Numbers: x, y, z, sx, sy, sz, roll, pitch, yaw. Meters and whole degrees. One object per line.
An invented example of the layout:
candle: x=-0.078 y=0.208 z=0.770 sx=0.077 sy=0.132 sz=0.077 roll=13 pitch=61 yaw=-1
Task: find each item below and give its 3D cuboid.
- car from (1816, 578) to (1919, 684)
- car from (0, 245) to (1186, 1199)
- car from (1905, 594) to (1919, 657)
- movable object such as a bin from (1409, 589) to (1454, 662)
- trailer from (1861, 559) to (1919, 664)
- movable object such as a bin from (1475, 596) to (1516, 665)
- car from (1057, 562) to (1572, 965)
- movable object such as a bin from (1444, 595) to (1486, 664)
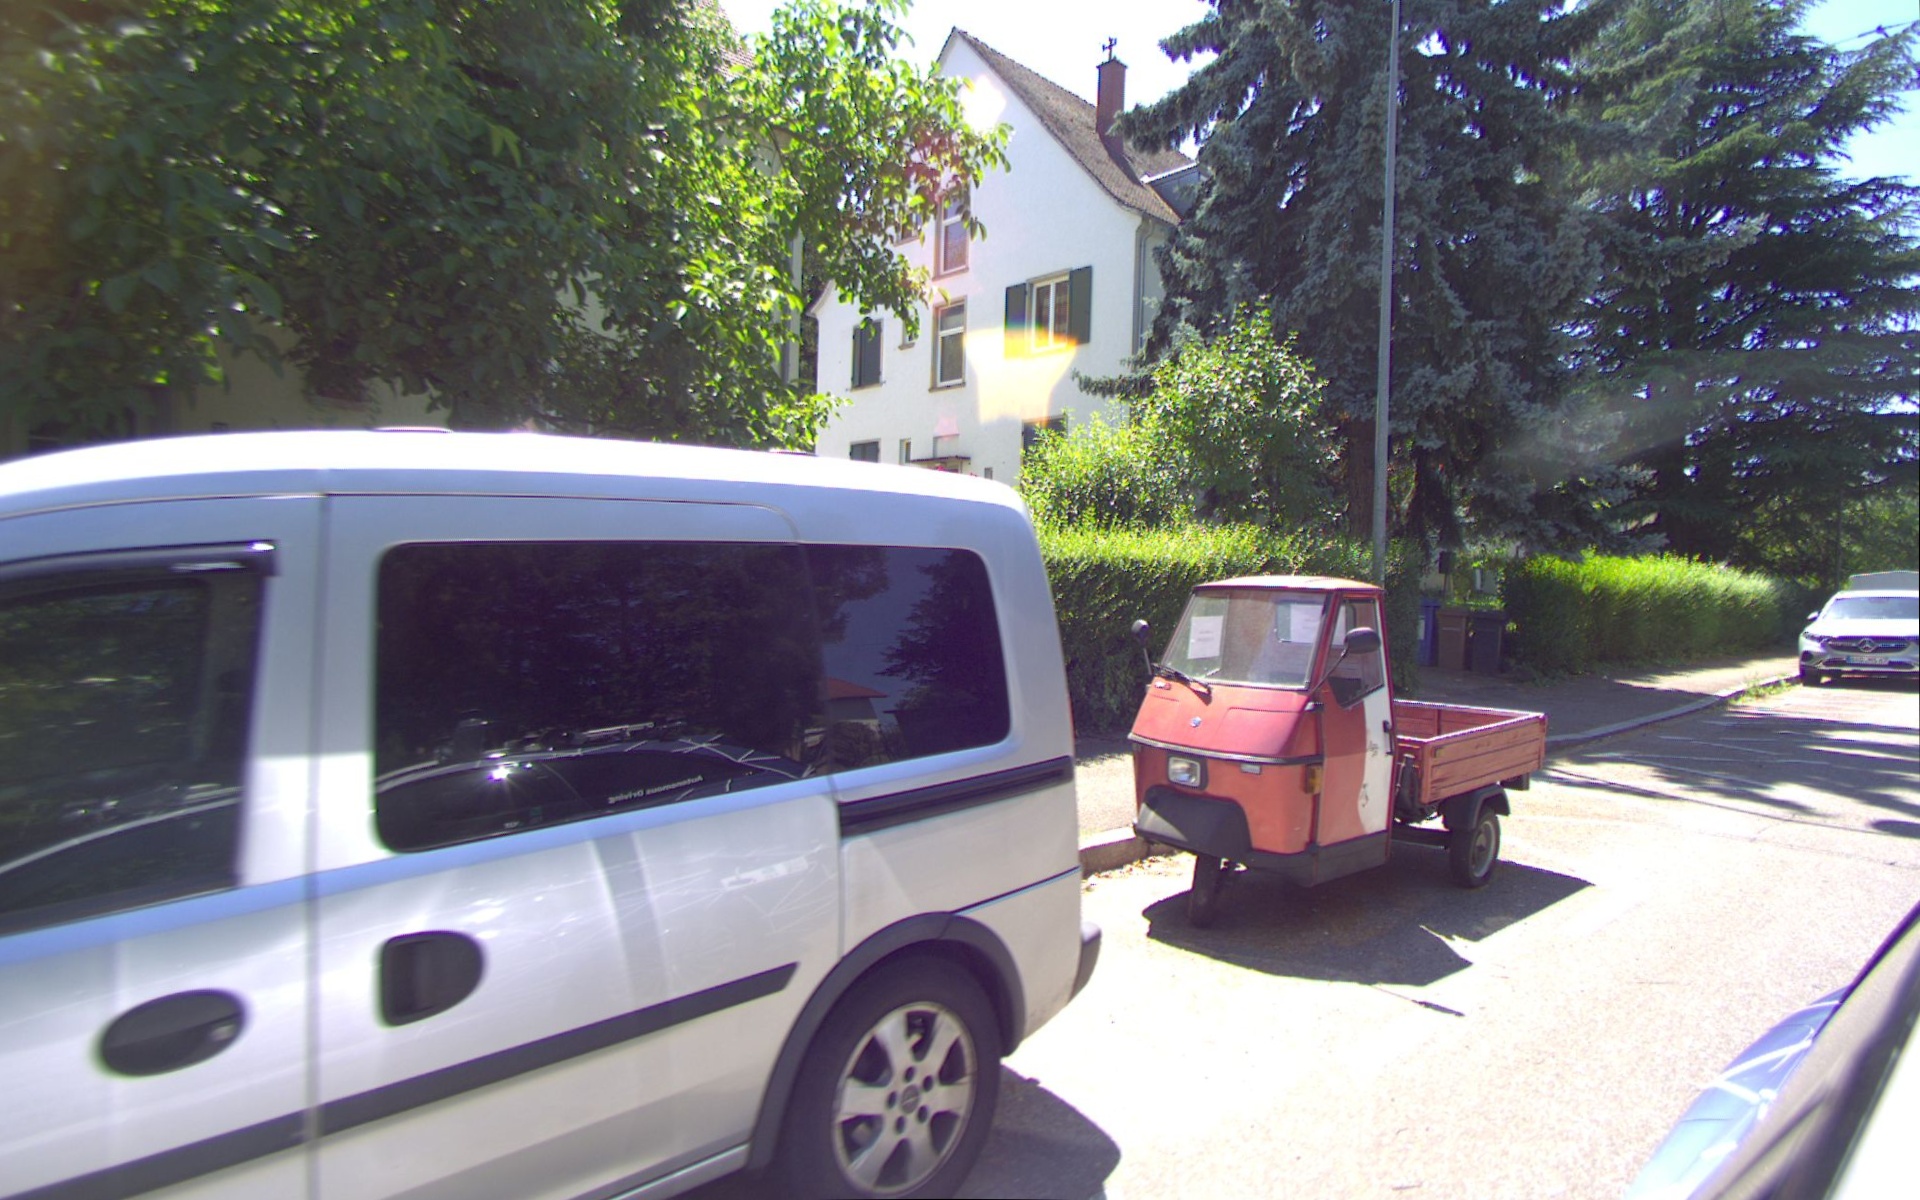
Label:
car: x=16.428 y=0.491 z=17.627 sx=4.526 sy=1.652 sz=1.773 roll=0 pitch=0 yaw=-43
car: x=-1.627 y=0.461 z=2.016 sx=4.463 sy=1.805 sz=1.749 roll=0 pitch=0 yaw=-41
car: x=24.008 y=0.576 z=24.266 sx=4.185 sy=1.413 sz=1.617 roll=-1 pitch=1 yaw=-42
movable object such as a bin: x=7.271 y=0.384 z=15.594 sx=0.549 sy=1.095 sz=0.449 roll=0 pitch=0 yaw=-41
trailer: x=20.424 y=0.236 z=21.412 sx=3.645 sy=2.094 sz=1.682 roll=0 pitch=-1 yaw=-43
movable object such as a bin: x=7.898 y=0.438 z=14.915 sx=0.441 sy=1.004 sz=0.405 roll=0 pitch=0 yaw=-41
car: x=1.885 y=0.608 z=5.140 sx=2.660 sy=1.514 sz=1.263 roll=0 pitch=0 yaw=-39
movable object such as a bin: x=7.608 y=0.434 z=15.250 sx=0.464 sy=1.004 sz=0.425 roll=0 pitch=0 yaw=-41
